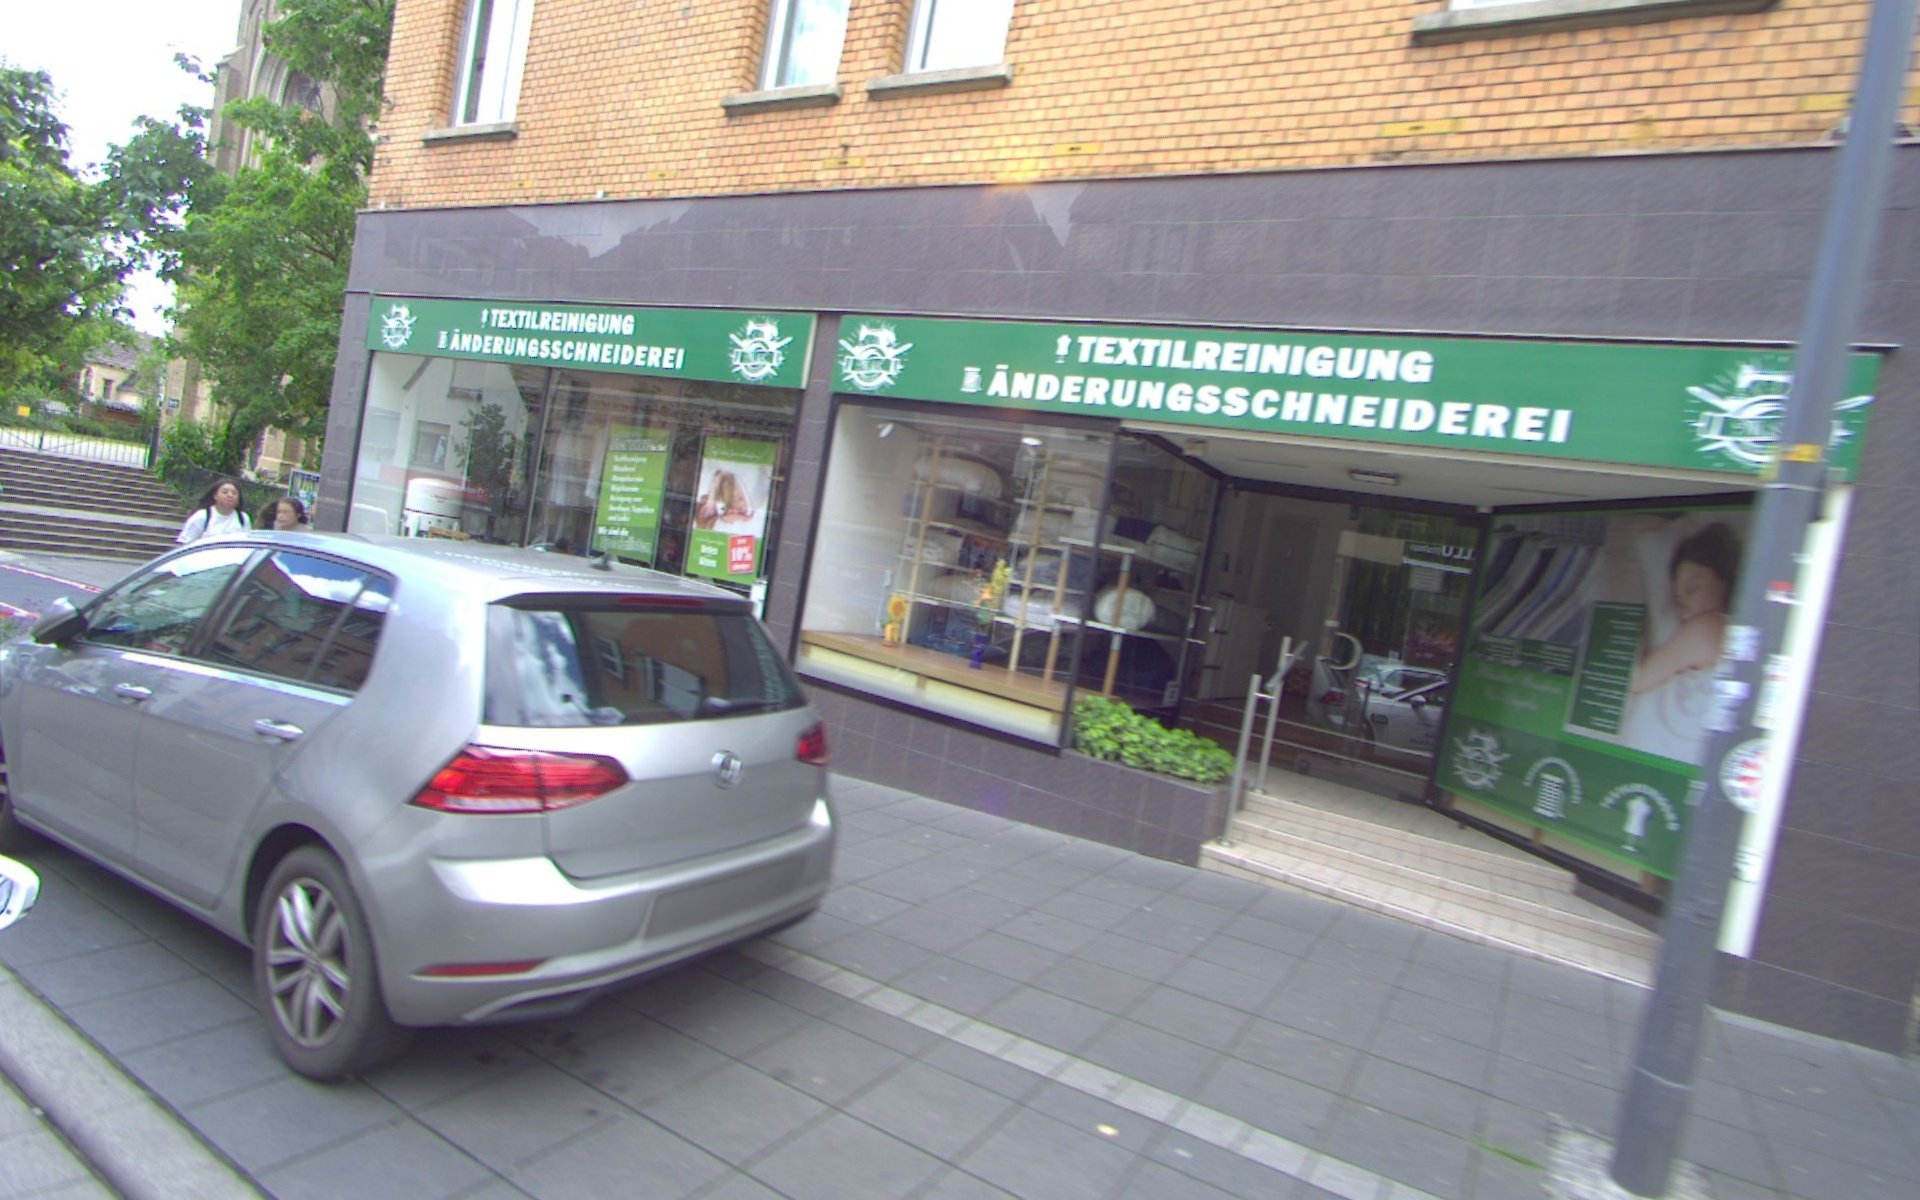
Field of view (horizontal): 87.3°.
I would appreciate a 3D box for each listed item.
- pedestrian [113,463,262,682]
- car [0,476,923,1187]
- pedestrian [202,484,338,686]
[{"bbox_3d":[-6.250,-0.215,8.148,0.658,1.654,0.672,8,3,29],"label":"pedestrian"},{"bbox_3d":[-2.358,0.421,4.059,4.006,1.485,1.749,7,2,31],"label":"car"},{"bbox_3d":[-6.047,-0.124,8.825,0.658,1.654,0.672,8,3,29],"label":"pedestrian"}]
